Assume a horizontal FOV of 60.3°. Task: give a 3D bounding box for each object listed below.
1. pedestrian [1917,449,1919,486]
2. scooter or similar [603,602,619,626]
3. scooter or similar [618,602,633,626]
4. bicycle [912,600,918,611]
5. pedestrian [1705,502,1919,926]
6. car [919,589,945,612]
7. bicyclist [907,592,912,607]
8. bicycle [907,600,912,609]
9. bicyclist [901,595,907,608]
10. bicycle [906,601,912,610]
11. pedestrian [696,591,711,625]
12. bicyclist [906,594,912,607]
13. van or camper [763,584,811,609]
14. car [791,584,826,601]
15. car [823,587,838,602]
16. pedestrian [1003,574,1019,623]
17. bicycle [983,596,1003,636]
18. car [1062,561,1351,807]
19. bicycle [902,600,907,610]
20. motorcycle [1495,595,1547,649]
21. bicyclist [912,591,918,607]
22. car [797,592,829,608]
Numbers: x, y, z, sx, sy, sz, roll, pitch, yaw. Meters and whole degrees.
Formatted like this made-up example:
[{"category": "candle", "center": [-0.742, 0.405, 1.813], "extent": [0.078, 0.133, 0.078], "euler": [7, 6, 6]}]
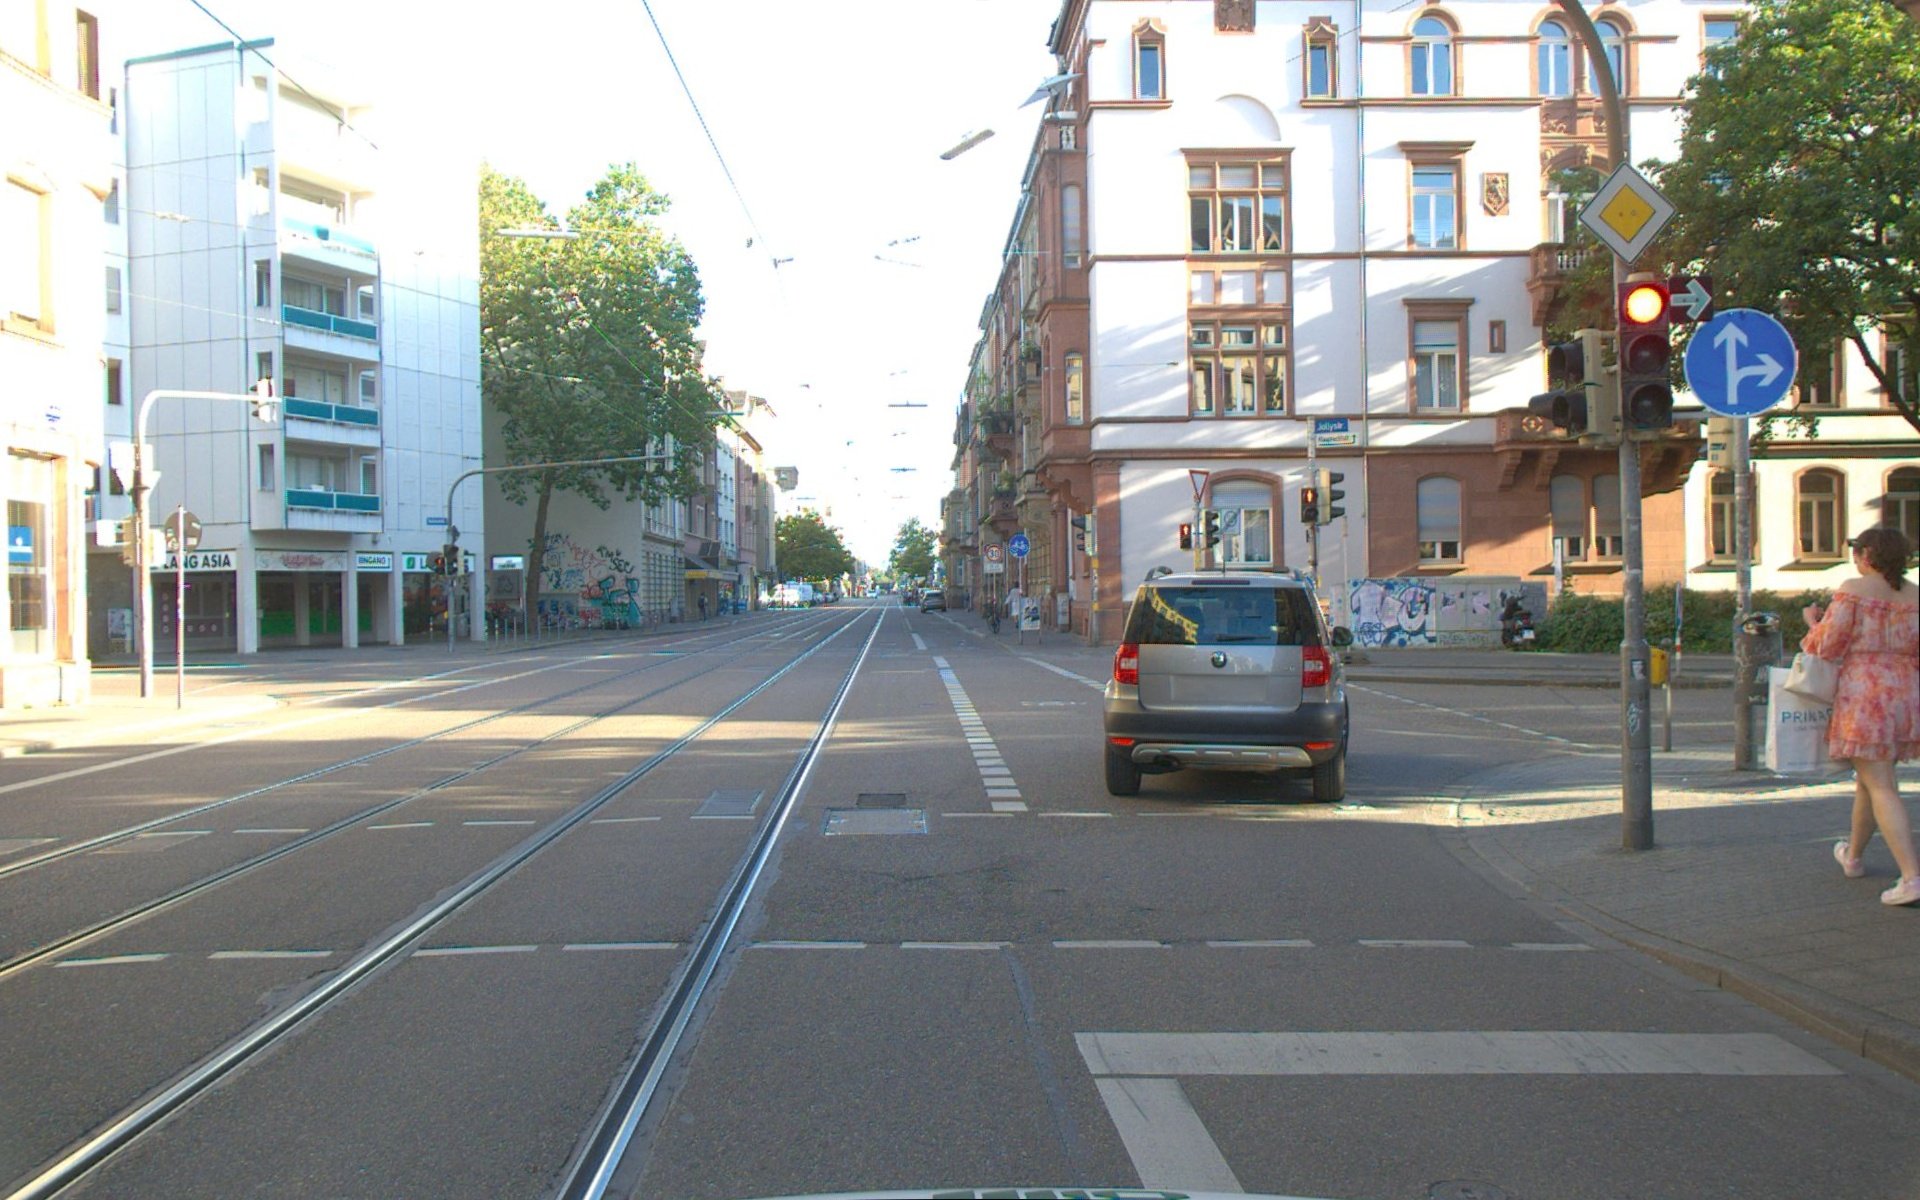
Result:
[{"category": "pedestrian", "center": [4.795, 0.256, 7.230], "extent": [0.677, 1.941, 0.670], "euler": [-5, 1, -4]}, {"category": "scooter or similar", "center": [-16.071, 0.648, 76.188], "extent": [0.506, 1.064, 1.477], "euler": [-1, 0, -4]}, {"category": "scooter or similar", "center": [-15.422, 0.636, 76.252], "extent": [0.506, 1.076, 1.477], "euler": [-1, 0, -4]}, {"category": "bicycle", "center": [-4.300, 0.489, 158.815], "extent": [0.563, 1.048, 1.894], "euler": [-1, 0, -1]}, {"category": "pedestrian", "center": [4.135, 0.495, 7.746], "extent": [0.790, 1.830, 0.761], "euler": [-5, 1, -4]}, {"category": "car", "center": [-2.099, 0.015, 125.657], "extent": [1.910, 1.713, 3.999], "euler": [-1, 0, -1]}, {"category": "bicyclist", "center": [-6.040, -0.044, 197.336], "extent": [0.563, 1.708, 0.795], "euler": [-1, 0, -1]}, {"category": "bicycle", "center": [-6.021, 0.590, 197.348], "extent": [0.563, 1.048, 1.894], "euler": [-1, 0, -1]}, {"category": "bicyclist", "center": [-6.430, 0.120, 190.113], "extent": [0.563, 1.477, 0.645], "euler": [-1, 0, -1]}, {"category": "bicycle", "center": [-5.712, 0.611, 185.252], "extent": [0.563, 1.048, 1.894], "euler": [-1, 0, -1]}, {"category": "pedestrian", "center": [-13.740, 0.427, 88.719], "extent": [0.687, 1.759, 0.647], "euler": [-1, 0, -2]}, {"category": "bicyclist", "center": [-5.728, 0.045, 185.246], "extent": [0.563, 1.520, 0.795], "euler": [-1, 0, -1]}, {"category": "van or camper", "center": [-18.292, -0.371, 174.917], "extent": [4.593, 2.608, 1.977], "euler": [0, 0, -34]}, {"category": "car", "center": [-19.311, -0.966, 210.545], "extent": [3.940, 2.049, 1.982], "euler": [-1, 0, -27]}, {"category": "car", "center": [-18.489, -0.768, 236.678], "extent": [1.954, 2.049, 3.998], "euler": [-1, 0, -3]}, {"category": "pedestrian", "center": [1.943, -0.060, 62.795], "extent": [0.533, 1.811, 0.504], "euler": [-1, 0, -2]}, {"category": "bicycle", "center": [1.127, 0.530, 56.404], "extent": [0.640, 1.347, 2.176], "euler": [-1, 0, 0]}, {"category": "car", "center": [2.140, 0.563, 13.357], "extent": [1.951, 1.646, 4.003], "euler": [1, 0, 13]}, {"category": "bicycle", "center": [-6.417, 0.562, 190.139], "extent": [0.563, 1.048, 1.894], "euler": [-1, 0, -1]}, {"category": "motorcycle", "center": [12.277, 0.464, 36.250], "extent": [0.704, 1.037, 2.289], "euler": [-1, 2, 9]}, {"category": "bicyclist", "center": [-4.312, -0.079, 158.810], "extent": [0.563, 1.581, 0.595], "euler": [-1, 0, -1]}, {"category": "car", "center": [-19.929, -0.027, 224.184], "extent": [3.940, 2.049, 1.982], "euler": [-1, 0, -27]}]
